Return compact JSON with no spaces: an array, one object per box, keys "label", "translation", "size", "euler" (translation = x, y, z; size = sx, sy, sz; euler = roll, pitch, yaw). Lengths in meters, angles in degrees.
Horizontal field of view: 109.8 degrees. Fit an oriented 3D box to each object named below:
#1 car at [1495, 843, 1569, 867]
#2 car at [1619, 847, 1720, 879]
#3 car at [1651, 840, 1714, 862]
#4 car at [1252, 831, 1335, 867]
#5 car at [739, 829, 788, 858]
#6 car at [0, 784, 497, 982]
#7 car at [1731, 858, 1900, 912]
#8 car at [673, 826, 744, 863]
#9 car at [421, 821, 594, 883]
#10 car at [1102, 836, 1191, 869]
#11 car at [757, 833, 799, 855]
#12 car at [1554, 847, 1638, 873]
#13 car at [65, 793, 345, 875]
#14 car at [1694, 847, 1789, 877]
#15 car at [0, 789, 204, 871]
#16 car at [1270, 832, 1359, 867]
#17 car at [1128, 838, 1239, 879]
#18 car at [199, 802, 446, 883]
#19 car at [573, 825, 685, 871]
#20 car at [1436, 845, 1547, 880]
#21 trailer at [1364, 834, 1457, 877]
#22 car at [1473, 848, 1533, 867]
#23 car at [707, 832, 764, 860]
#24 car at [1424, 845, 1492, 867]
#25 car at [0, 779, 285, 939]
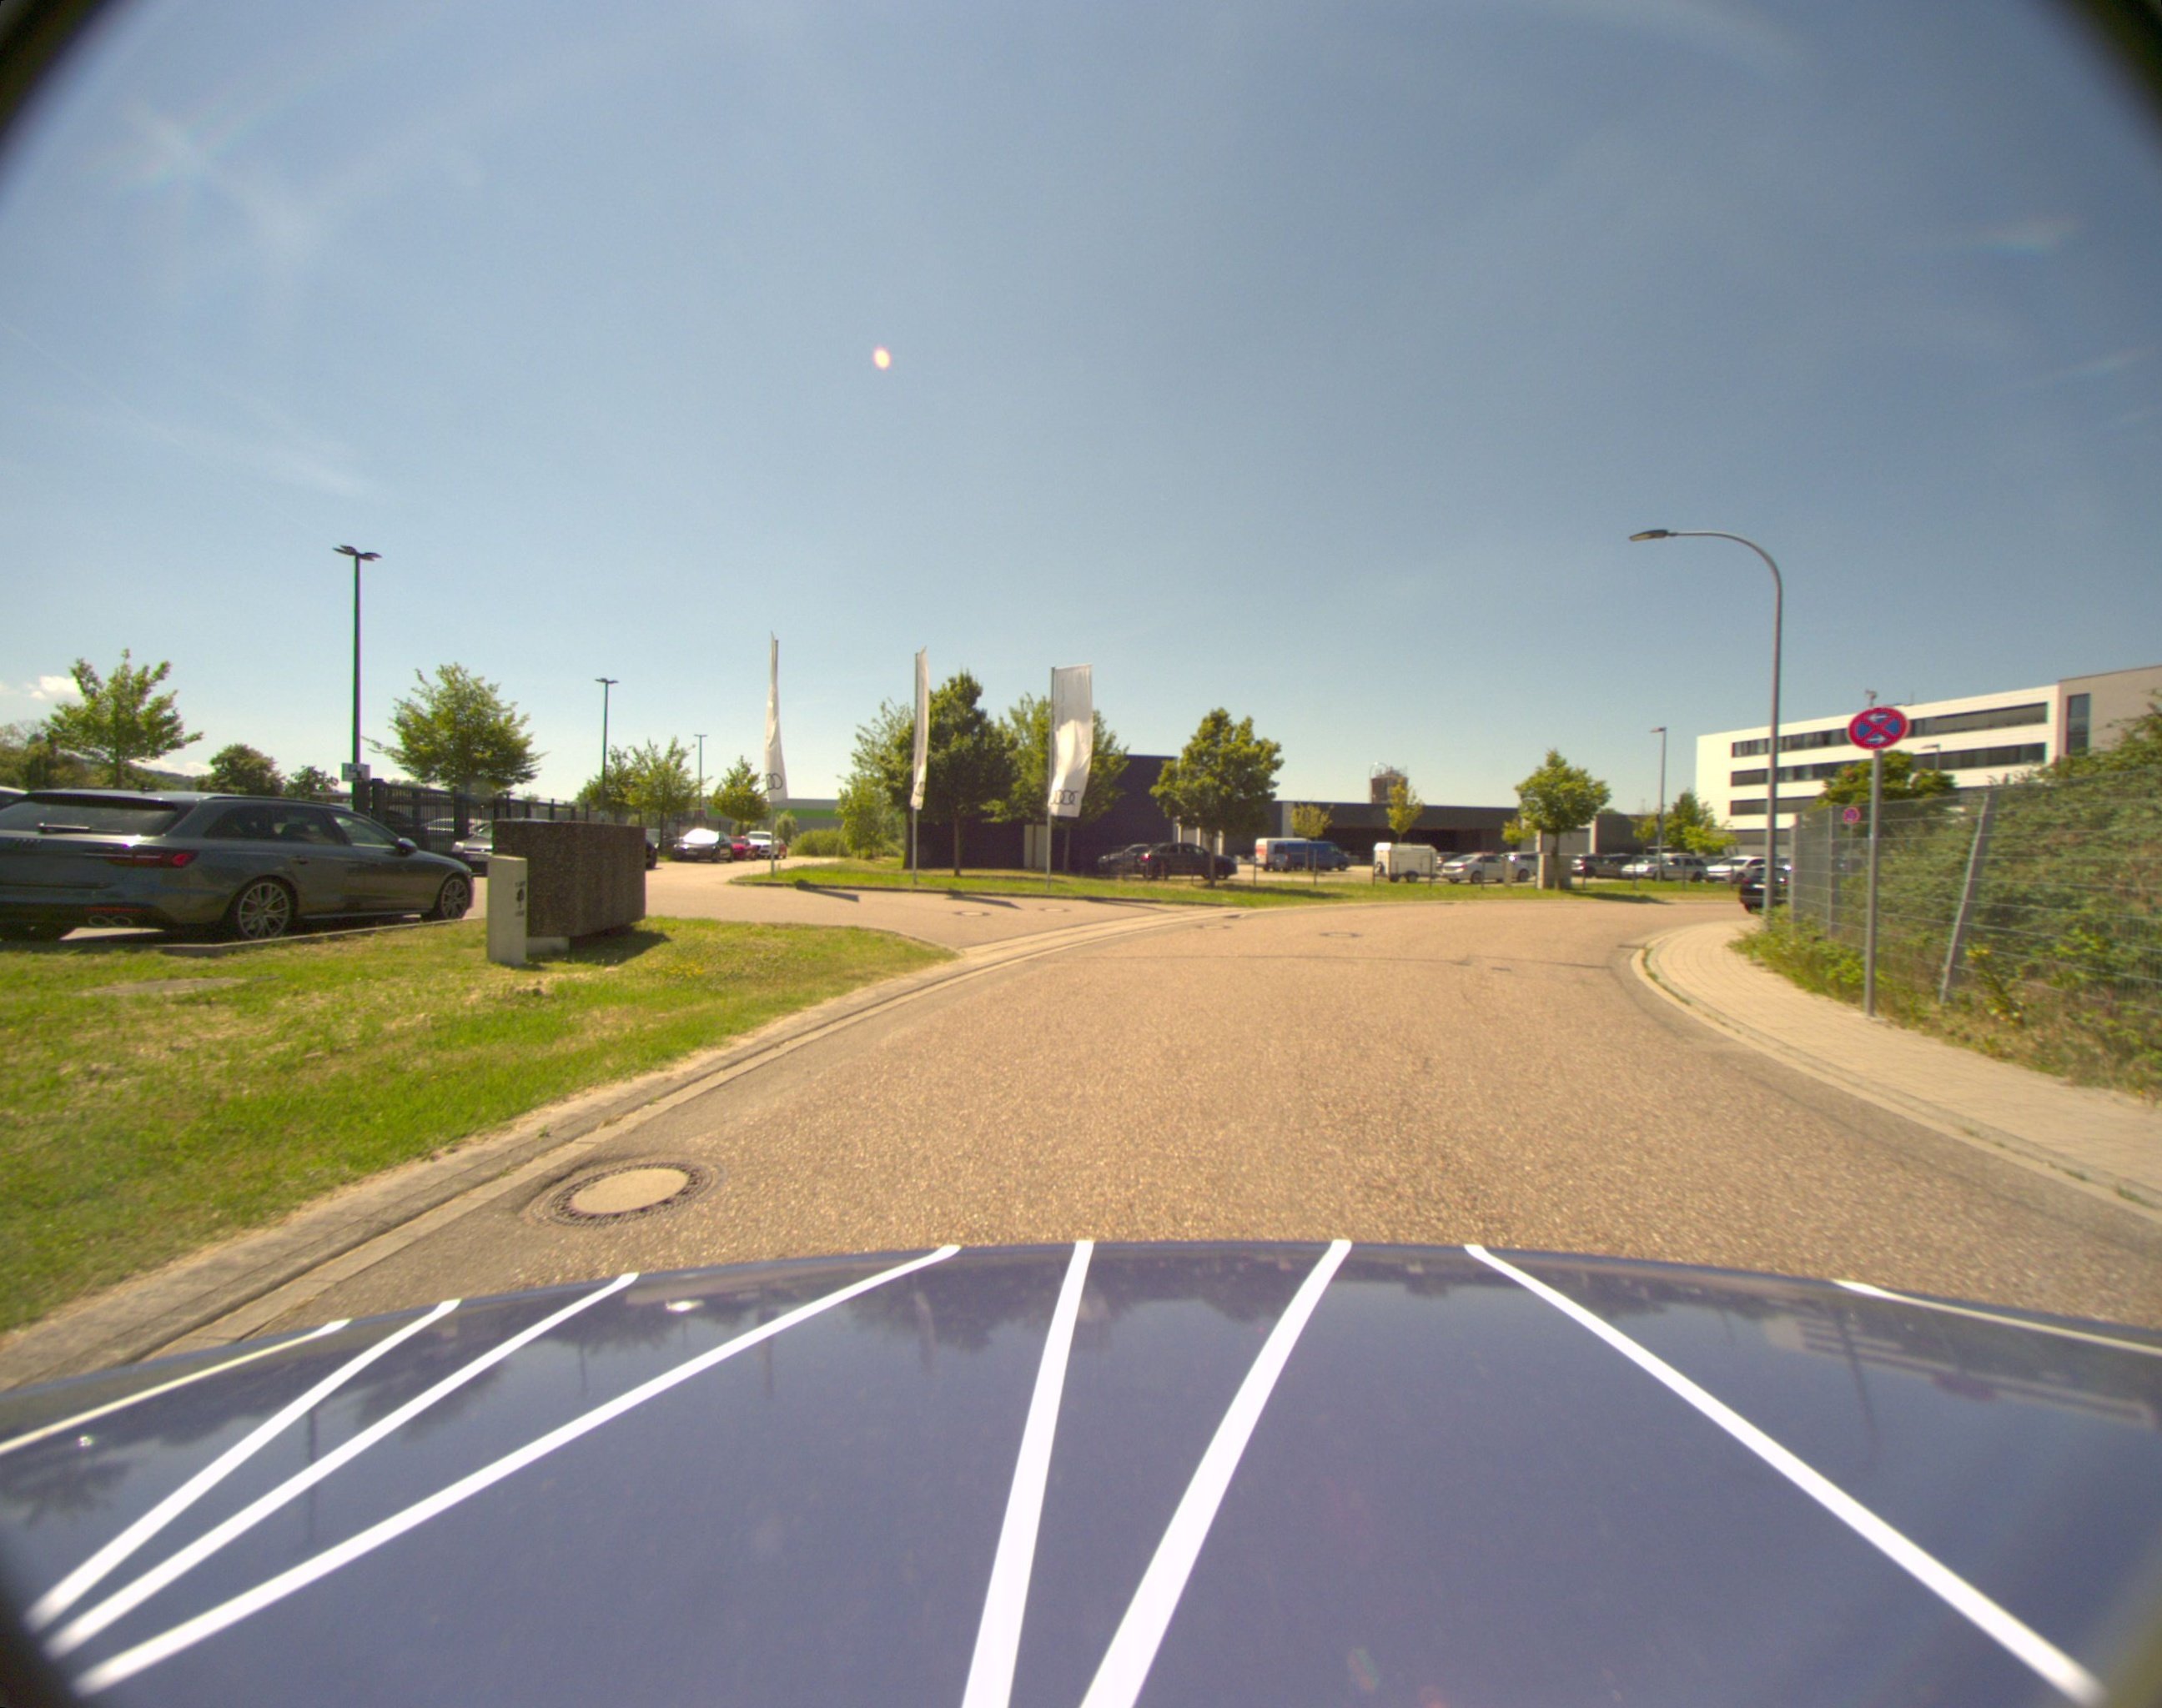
[{"label":"car","translation":[29.994,0.067,50.572],"size":[3.926,1.490,1.853],"euler":[1,1,-10]},{"label":"car","translation":[31.188,0.470,40.298],"size":[4.291,1.490,1.853],"euler":[2,0,-13]},{"label":"car","translation":[49.092,-0.234,62.074],"size":[3.925,1.528,1.831],"euler":[3,-2,-9]},{"label":"car","translation":[16.161,-0.405,57.974],"size":[5.680,2.443,2.194],"euler":[-2,1,-13]},{"label":"car","translation":[-19.281,-0.662,46.307],"size":[1.825,1.637,4.391],"euler":[2,1,-10]},{"label":"car","translation":[-8.580,0.174,7.977],"size":[1.969,1.459,4.938],"euler":[2,1,-13]},{"label":"car","translation":[22.392,0.910,23.220],"size":[4.134,1.546,1.657],"euler":[0,0,-12]},{"label":"car","translation":[-17.168,-0.462,35.234],"size":[1.781,1.558,4.401],"euler":[2,1,-10]},{"label":"car","translation":[-14.272,-0.080,19.243],"size":[1.781,1.341,4.141],"euler":[2,1,-10]},{"label":"car","translation":[3.348,-0.094,39.026],"size":[4.174,1.558,1.778],"euler":[1,1,-13]},{"label":"car","translation":[-21.016,-0.690,52.859],"size":[1.825,1.433,4.108],"euler":[2,1,-10]},{"label":"car","translation":[30.613,0.328,45.200],"size":[3.925,1.490,1.853],"euler":[0,1,-10]},{"label":"car","translation":[-20.312,-0.435,18.009],"size":[1.969,1.620,4.620],"euler":[2,1,-13]},{"label":"car","translation":[36.274,0.397,41.758],"size":[3.925,1.490,1.853],"euler":[-2,1,-10]},{"label":"car","translation":[-22.667,-0.535,16.765],"size":[1.969,1.620,4.620],"euler":[2,1,-13]},{"label":"car","translation":[16.961,-0.300,55.221],"size":[5.835,2.211,2.142],"euler":[-3,0,-13]},{"label":"car","translation":[4.272,0.139,31.831],"size":[4.284,1.592,1.778],"euler":[-1,2,-13]},{"label":"car","translation":[-17.659,-0.255,18.094],"size":[1.969,1.620,4.620],"euler":[2,1,-13]},{"label":"car","translation":[-15.400,-0.224,26.177],"size":[1.781,1.393,4.568],"euler":[2,1,-10]},{"label":"car","translation":[20.692,0.418,38.365],"size":[4.856,1.490,1.853],"euler":[-2,1,-11]},{"label":"trailer","translation":[16.284,0.083,37.627],"size":[3.739,1.987,1.853],"euler":[2,0,-11]},{"label":"car","translation":[33.979,0.247,61.213],"size":[3.925,1.490,1.853],"euler":[0,1,-10]},{"label":"car","translation":[-18.516,-0.446,40.888],"size":[1.781,1.349,4.167],"euler":[2,1,-10]},{"label":"car","translation":[28.603,0.153,57.750],"size":[4.254,1.622,1.966],"euler":[0,1,-10]},{"label":"car","translation":[-11.299,0.003,7.821],"size":[1.826,1.520,4.938],"euler":[2,1,-13]}]
